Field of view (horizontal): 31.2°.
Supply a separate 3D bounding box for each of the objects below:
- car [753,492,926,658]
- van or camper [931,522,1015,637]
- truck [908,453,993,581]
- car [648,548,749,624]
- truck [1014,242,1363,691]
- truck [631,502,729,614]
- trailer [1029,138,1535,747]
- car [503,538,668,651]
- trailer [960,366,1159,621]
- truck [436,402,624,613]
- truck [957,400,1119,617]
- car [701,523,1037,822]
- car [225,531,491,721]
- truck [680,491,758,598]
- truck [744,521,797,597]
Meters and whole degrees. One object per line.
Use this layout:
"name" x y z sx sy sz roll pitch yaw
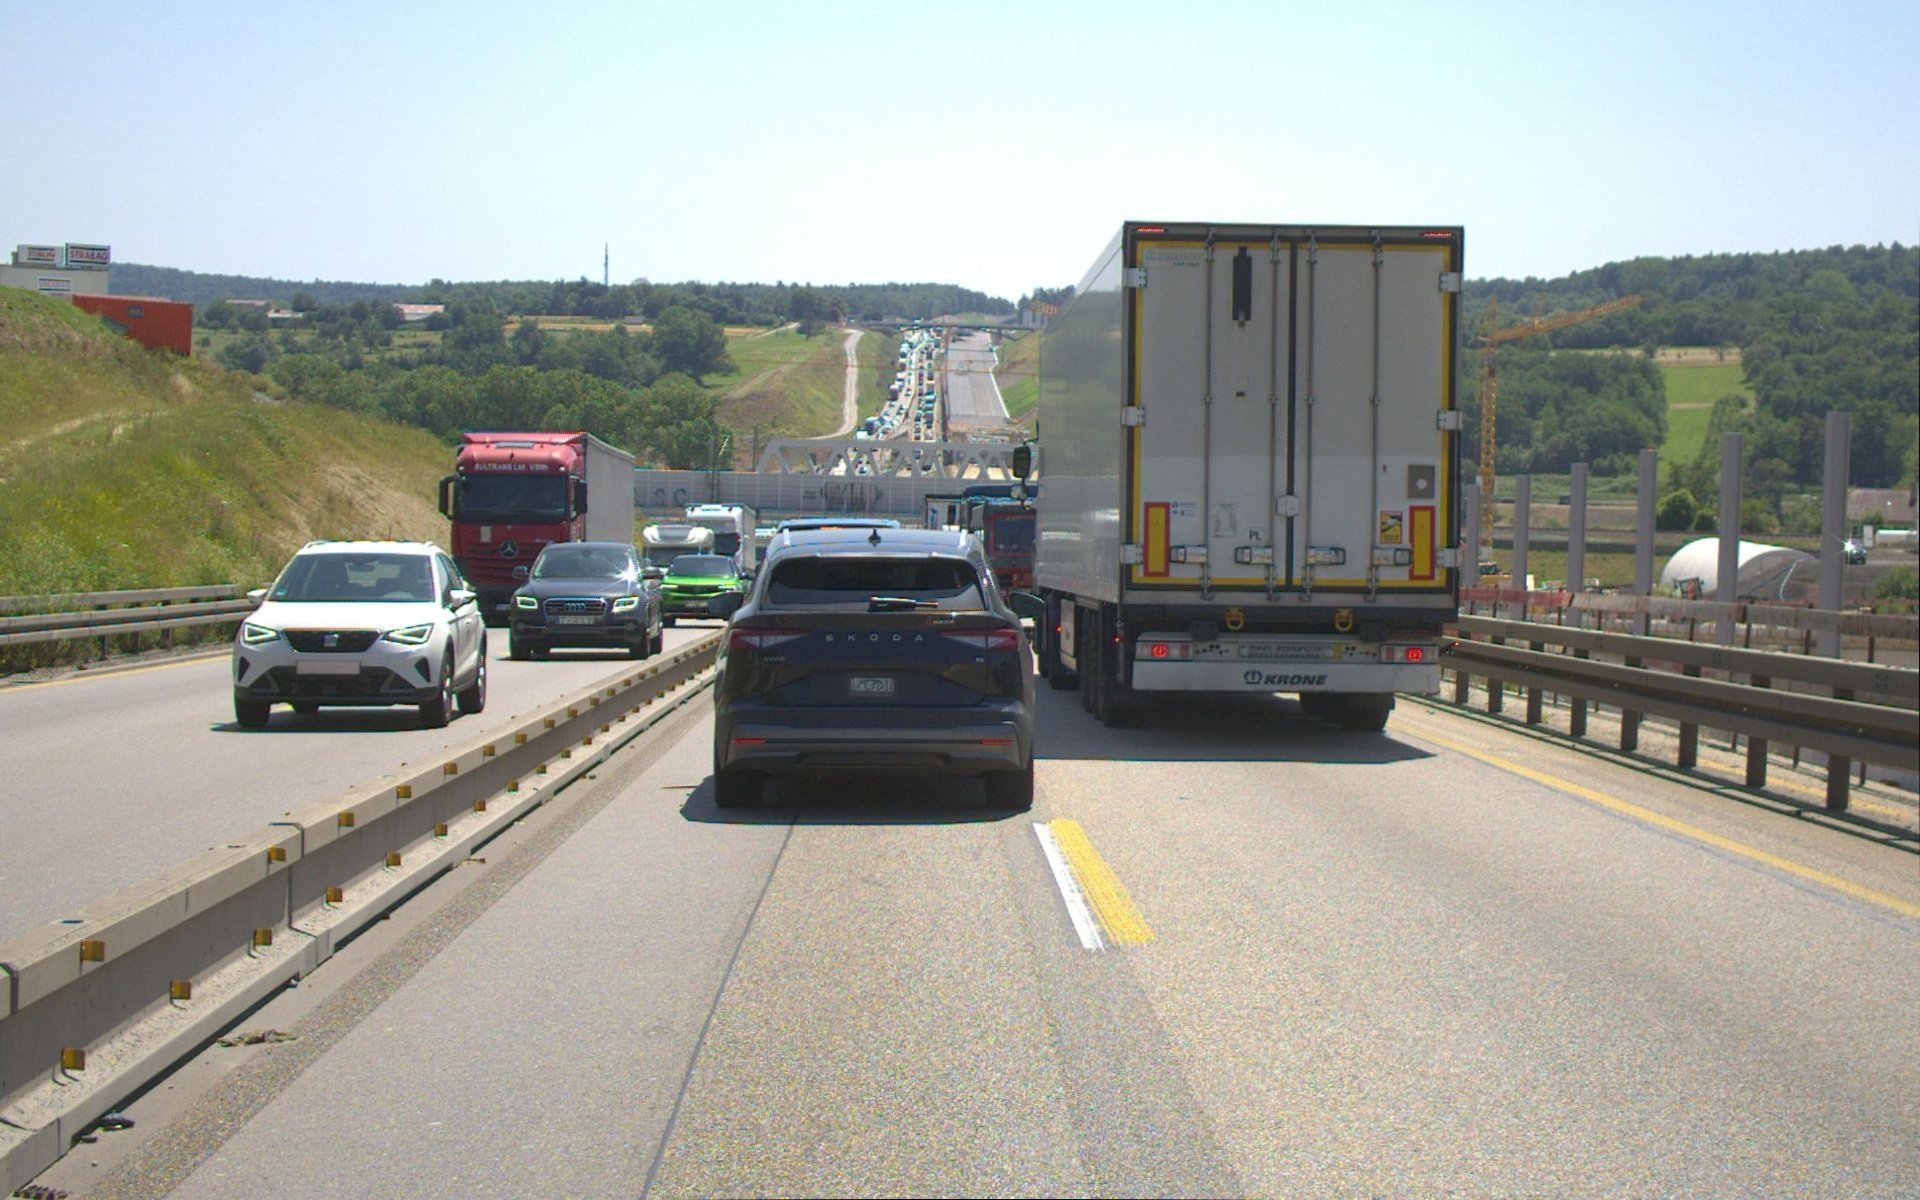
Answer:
"car" -1.464 -0.279 42.509 1.993 1.919 4.508 1 0 -1
"van or camper" 0.419 -0.563 101.795 2.389 3.269 6.468 1 0 1
"truck" -0.449 -3.027 130.472 2.852 4.450 11.918 1 0 -2
"car" -5.363 -0.299 70.908 1.861 1.471 4.000 1 1 -2
"truck" 2.376 -1.429 38.927 3.180 4.497 8.166 1 1 -1
"truck" -9.987 -1.427 123.649 2.852 3.769 11.918 1 0 -2
"trailer" 2.534 -1.300 32.225 3.180 4.497 13.109 1 1 -1
"car" -5.239 -0.097 48.497 1.993 1.525 4.000 0 1 -2
"trailer" 1.774 -1.858 68.906 3.180 4.498 14.967 1 0 -1
"truck" -9.142 -1.817 74.366 2.852 4.125 11.918 1 0 -2
"truck" 1.629 -1.888 76.067 3.180 4.498 8.165 1 0 -1
"car" -0.512 0.386 20.651 1.802 1.602 4.000 1 0 0
"car" -5.078 0.181 29.439 1.792 1.513 3.999 0 1 -3
"truck" -10.326 -2.293 148.323 2.852 4.323 11.918 1 0 -2
"truck" -11.343 -2.403 206.526 2.852 4.323 11.918 1 0 -2
